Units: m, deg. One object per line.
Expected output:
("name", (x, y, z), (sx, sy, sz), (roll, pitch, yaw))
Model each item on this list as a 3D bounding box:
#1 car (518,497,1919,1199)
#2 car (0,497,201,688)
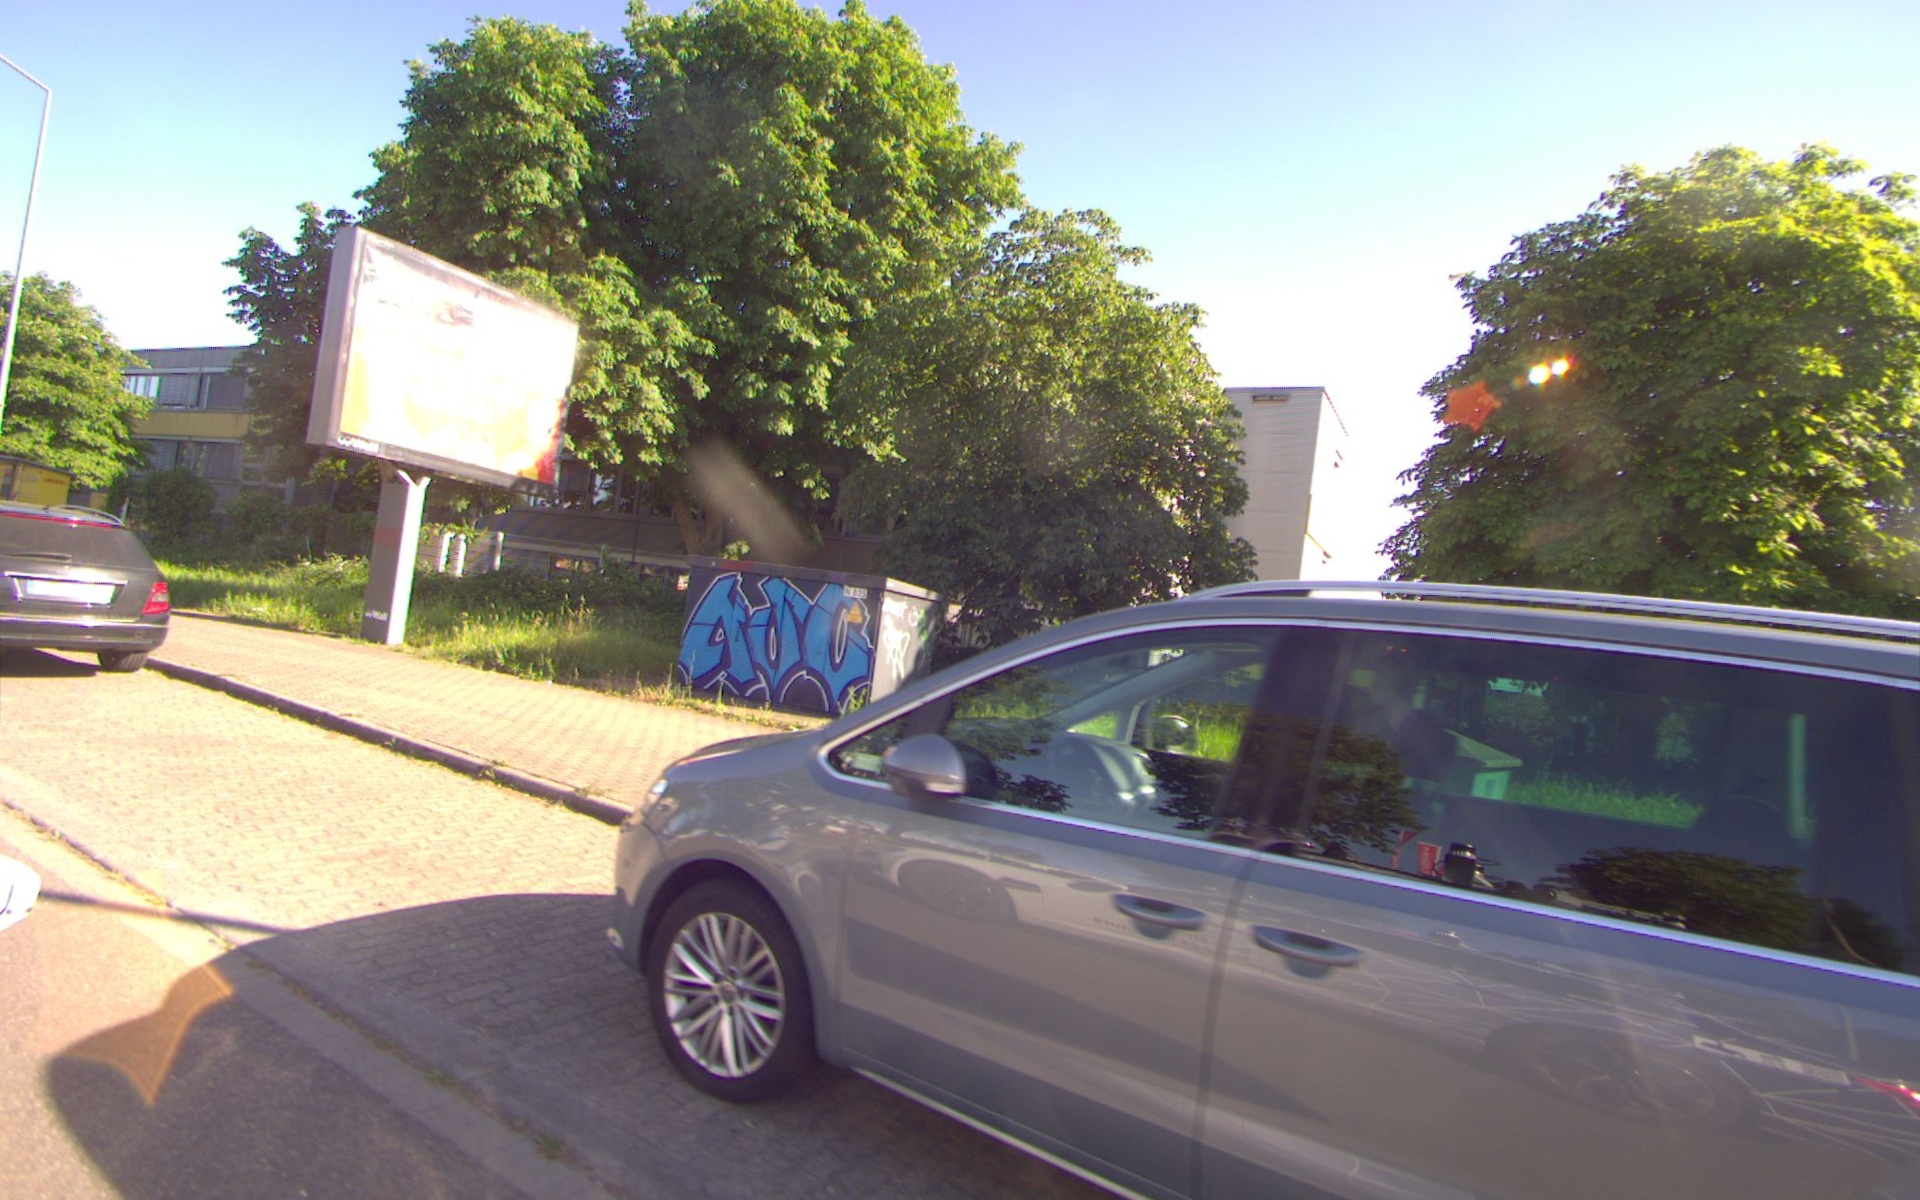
("car", (1.002, 0.805, 2.938), (4.537, 1.743, 1.875), (6, 0, 33))
("car", (-9.118, -0.257, 9.264), (4.350, 1.436, 1.812), (7, -2, 31))
